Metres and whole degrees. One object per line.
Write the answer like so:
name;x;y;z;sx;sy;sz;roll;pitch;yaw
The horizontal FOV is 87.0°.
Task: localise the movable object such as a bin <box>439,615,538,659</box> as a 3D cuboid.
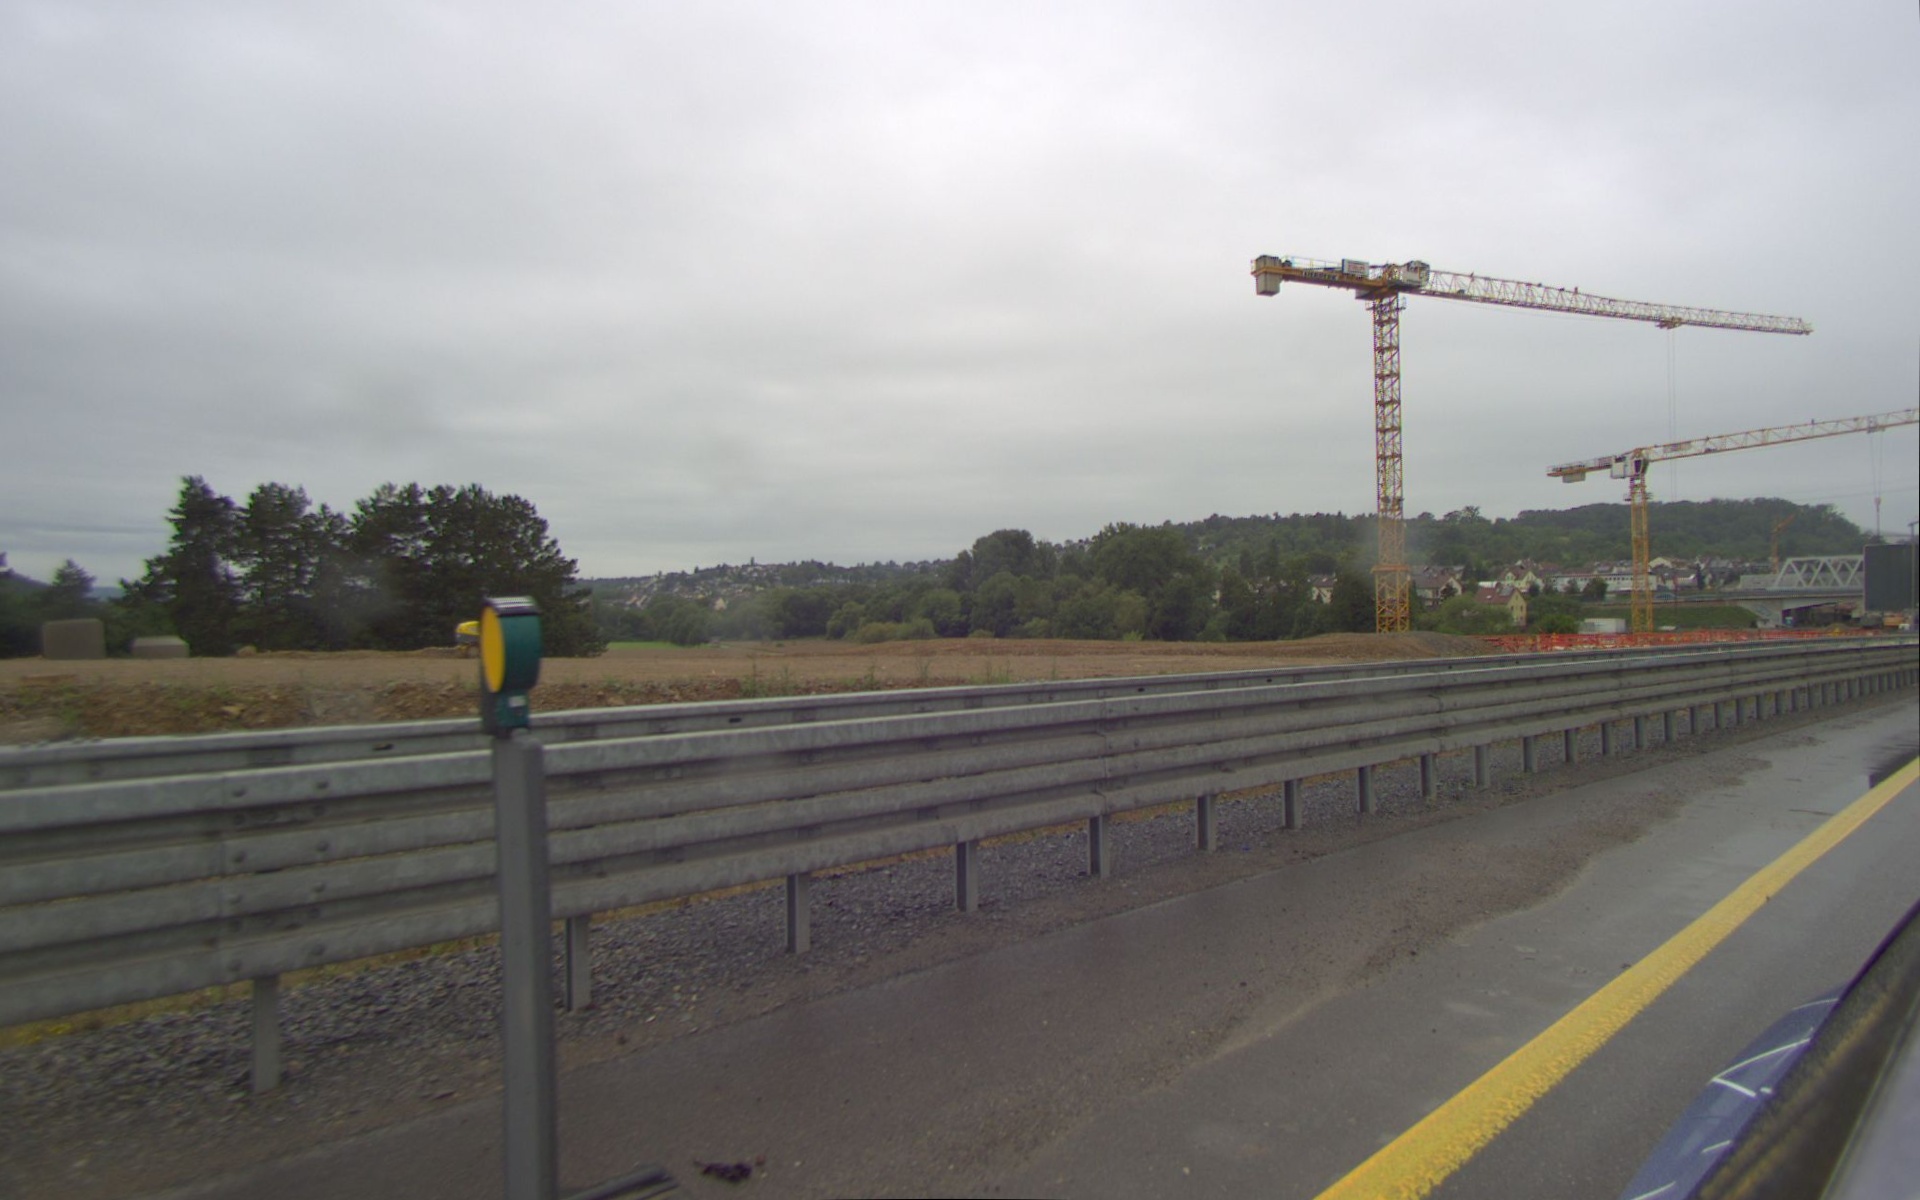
movable object such as a bin;-15.407;1.177;33.110;1.388;1.317;2.662;0;0;45
